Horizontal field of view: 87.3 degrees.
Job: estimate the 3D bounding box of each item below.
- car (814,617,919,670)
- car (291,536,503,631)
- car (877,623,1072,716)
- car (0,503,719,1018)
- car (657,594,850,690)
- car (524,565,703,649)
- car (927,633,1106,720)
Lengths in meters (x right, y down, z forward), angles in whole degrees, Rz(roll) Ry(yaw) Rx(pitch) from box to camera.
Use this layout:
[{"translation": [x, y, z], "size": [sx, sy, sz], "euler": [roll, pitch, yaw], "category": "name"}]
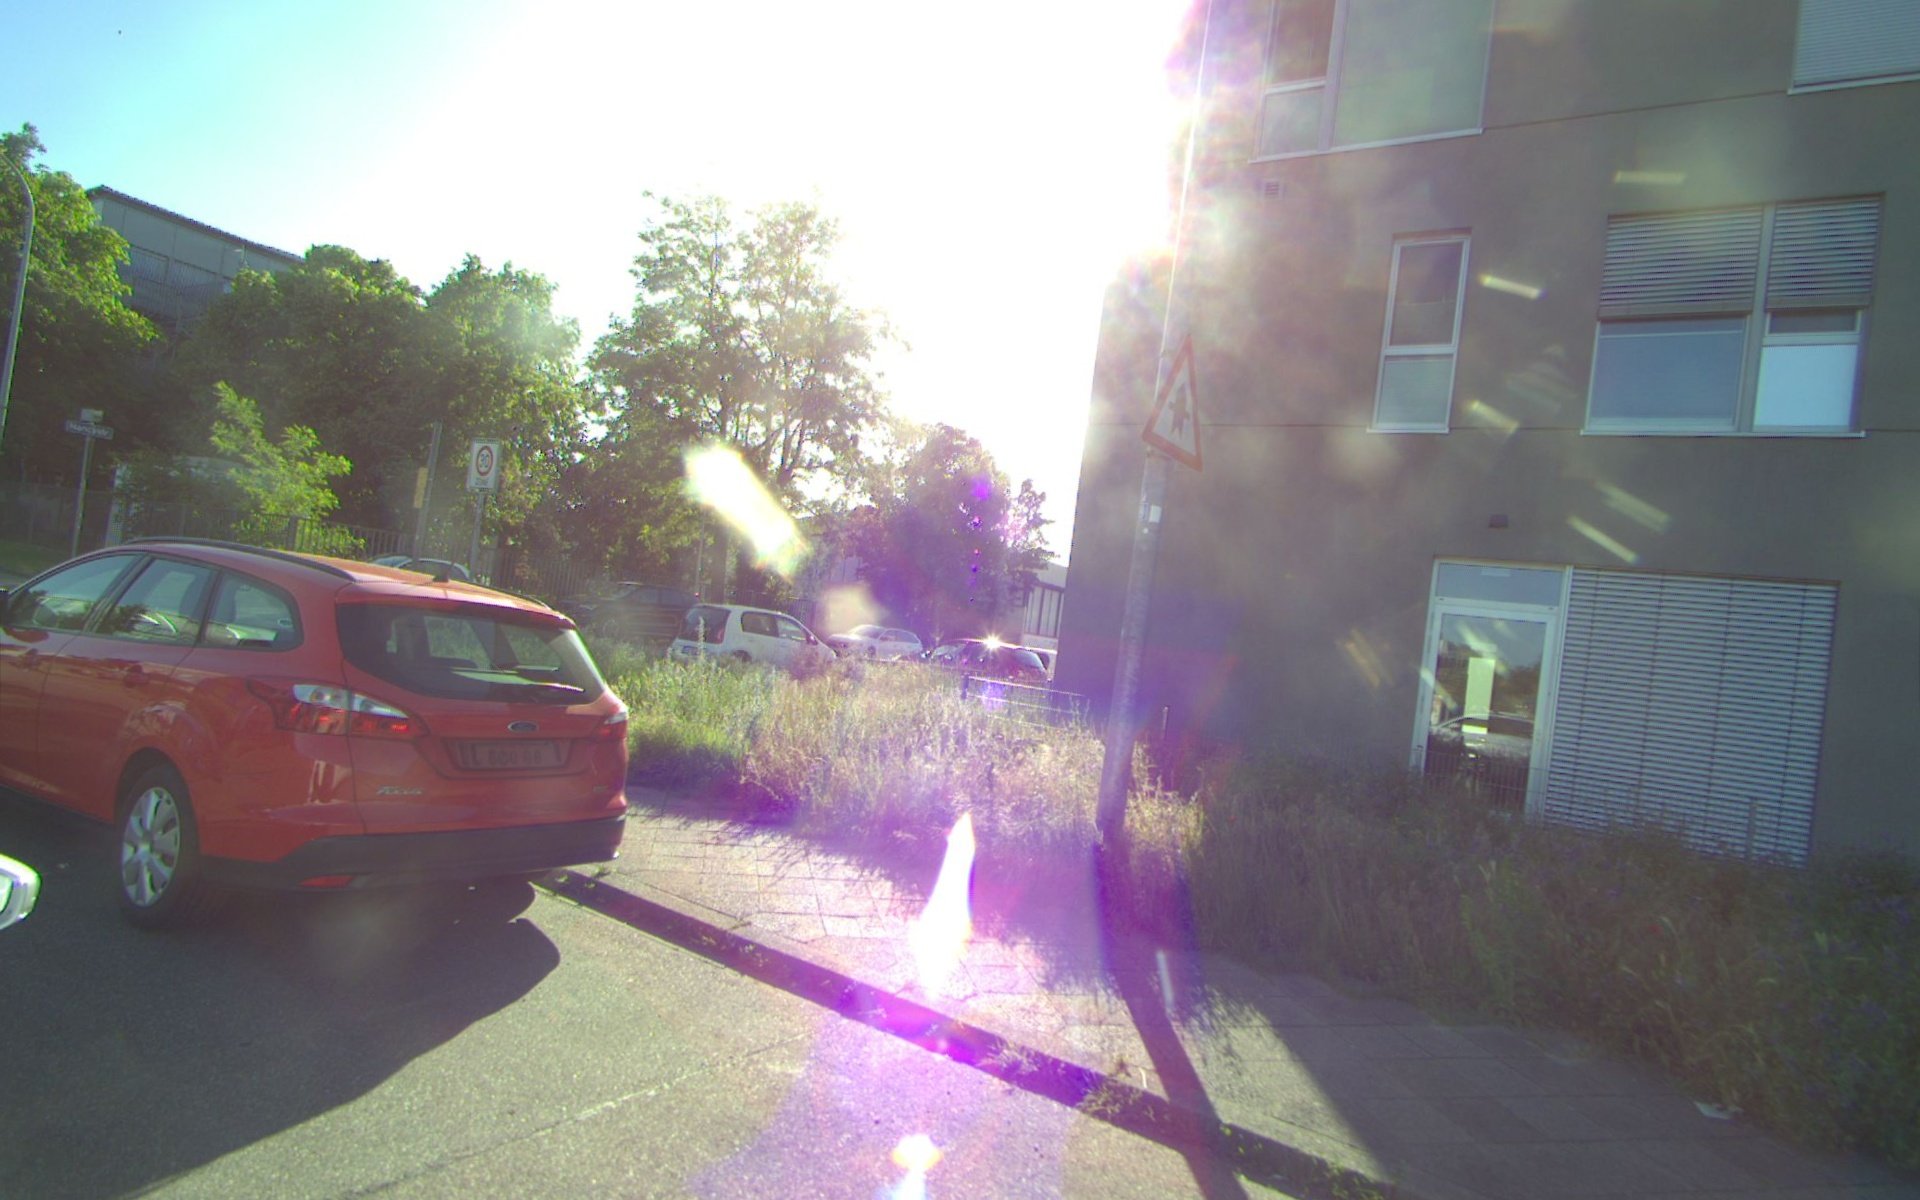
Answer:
[{"translation": [-3.292, 1.609, 36.311], "size": [1.682, 1.453, 3.997], "euler": [7, -2, 29], "category": "car"}, {"translation": [-12.046, -0.306, 21.722], "size": [1.574, 1.503, 3.554], "euler": [7, -2, 31], "category": "car"}, {"translation": [0.296, 1.543, 22.651], "size": [3.933, 1.487, 1.696], "euler": [7, -1, 31], "category": "car"}, {"translation": [-3.581, 0.480, 5.115], "size": [4.377, 1.516, 1.825], "euler": [7, -4, 30], "category": "car"}, {"translation": [-3.980, 0.869, 19.750], "size": [1.688, 1.475, 3.330], "euler": [7, -2, 35], "category": "car"}, {"translation": [-8.993, 0.233, 26.459], "size": [1.726, 1.656, 4.161], "euler": [7, -2, 31], "category": "car"}, {"translation": [1.364, 1.858, 24.812], "size": [3.933, 1.538, 1.696], "euler": [7, -1, 31], "category": "car"}]
